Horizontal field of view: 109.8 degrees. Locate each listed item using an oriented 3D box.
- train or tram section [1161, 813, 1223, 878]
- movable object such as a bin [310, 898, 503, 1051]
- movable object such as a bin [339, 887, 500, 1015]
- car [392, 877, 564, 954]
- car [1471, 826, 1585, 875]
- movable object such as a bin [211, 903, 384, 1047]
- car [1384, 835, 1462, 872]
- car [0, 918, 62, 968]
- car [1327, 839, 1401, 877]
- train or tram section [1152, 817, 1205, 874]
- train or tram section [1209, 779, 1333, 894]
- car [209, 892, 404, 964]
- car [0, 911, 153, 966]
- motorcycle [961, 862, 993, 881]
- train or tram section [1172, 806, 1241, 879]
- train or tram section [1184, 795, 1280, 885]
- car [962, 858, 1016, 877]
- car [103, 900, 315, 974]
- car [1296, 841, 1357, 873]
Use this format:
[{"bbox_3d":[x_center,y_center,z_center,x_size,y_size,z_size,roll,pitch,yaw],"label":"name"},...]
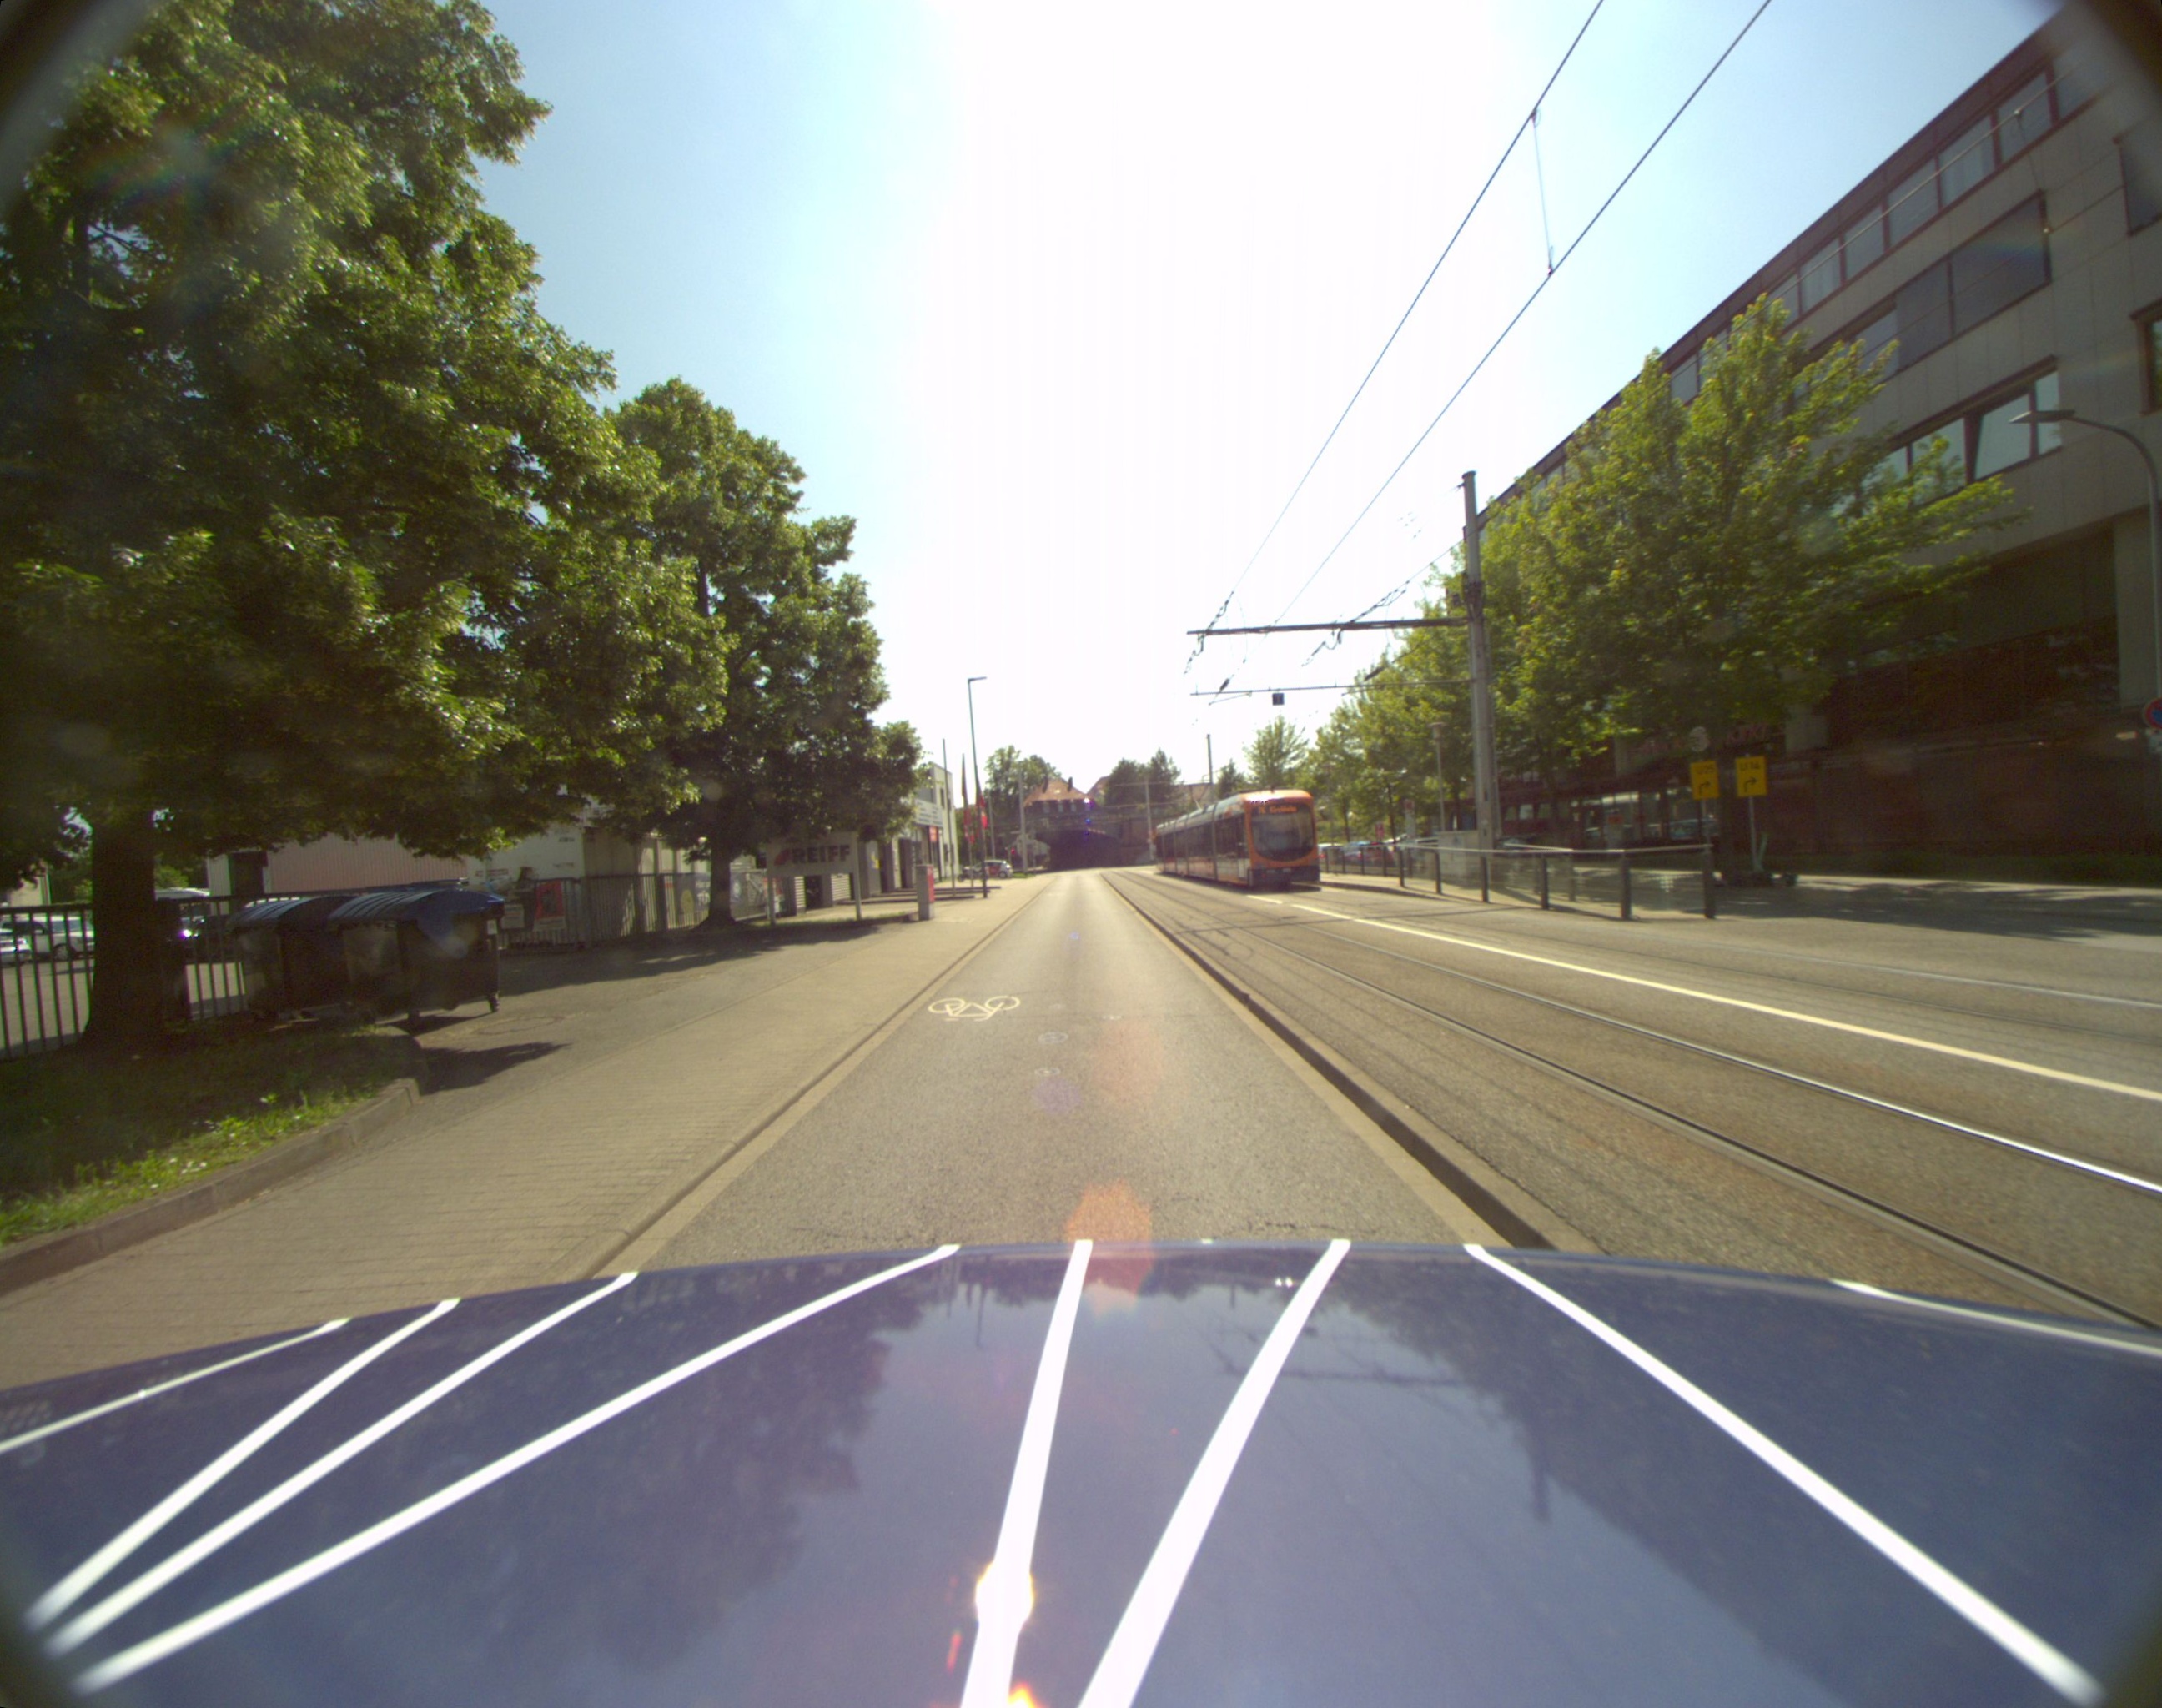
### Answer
[{"bbox_3d":[6.454,-0.481,45.091,2.618,3.427,5.843,-3,0,0],"label":"train or tram section"},{"bbox_3d":[-7.317,1.262,8.270,1.385,1.422,0.992,-3,2,25],"label":"movable object such as a bin"},{"bbox_3d":[-9.229,1.309,10.684,0.981,1.538,1.320,-4,2,-3],"label":"movable object such as a bin"},{"bbox_3d":[-17.989,1.744,22.946,1.836,1.916,4.001,-5,-1,1],"label":"car"},{"bbox_3d":[15.995,-0.117,27.445,1.765,1.510,4.000,-4,0,1],"label":"car"},{"bbox_3d":[-8.958,1.343,8.703,1.318,1.422,0.886,-3,2,25],"label":"movable object such as a bin"},{"bbox_3d":[15.422,-0.033,34.490,1.727,1.454,3.904,-5,0,1],"label":"car"},{"bbox_3d":[-42.544,3.578,29.248,3.997,1.776,1.838,-5,-1,0],"label":"car"},{"bbox_3d":[12.429,0.164,33.655,1.727,1.575,4.071,-1,0,-1],"label":"car"},{"bbox_3d":[6.442,-0.541,50.898,2.618,3.512,5.742,-3,0,0],"label":"train or tram section"},{"bbox_3d":[6.438,-0.552,26.804,2.587,3.427,6.362,-3,0,0],"label":"train or tram section"},{"bbox_3d":[-23.949,2.212,23.738,1.836,1.776,4.001,-5,-1,1],"label":"car"},{"bbox_3d":[-42.091,3.508,31.856,3.997,1.776,1.838,-5,-1,0],"label":"car"},{"bbox_3d":[-7.329,1.211,53.644,2.189,1.301,0.731,-1,1,-1],"label":"motorcycle"},{"bbox_3d":[6.438,-0.561,39.647,2.618,3.427,5.010,-3,0,0],"label":"train or tram section"},{"bbox_3d":[6.451,-0.557,33.574,2.587,3.427,7.136,-3,0,0],"label":"train or tram section"},{"bbox_3d":[-7.113,1.028,59.255,3.997,1.454,1.889,0,1,-1],"label":"car"},{"bbox_3d":[-26.819,2.473,23.617,1.836,1.776,4.001,-5,-1,1],"label":"car"},{"bbox_3d":[12.669,0.147,39.488,1.727,1.464,4.279,-2,0,-1],"label":"car"}]
